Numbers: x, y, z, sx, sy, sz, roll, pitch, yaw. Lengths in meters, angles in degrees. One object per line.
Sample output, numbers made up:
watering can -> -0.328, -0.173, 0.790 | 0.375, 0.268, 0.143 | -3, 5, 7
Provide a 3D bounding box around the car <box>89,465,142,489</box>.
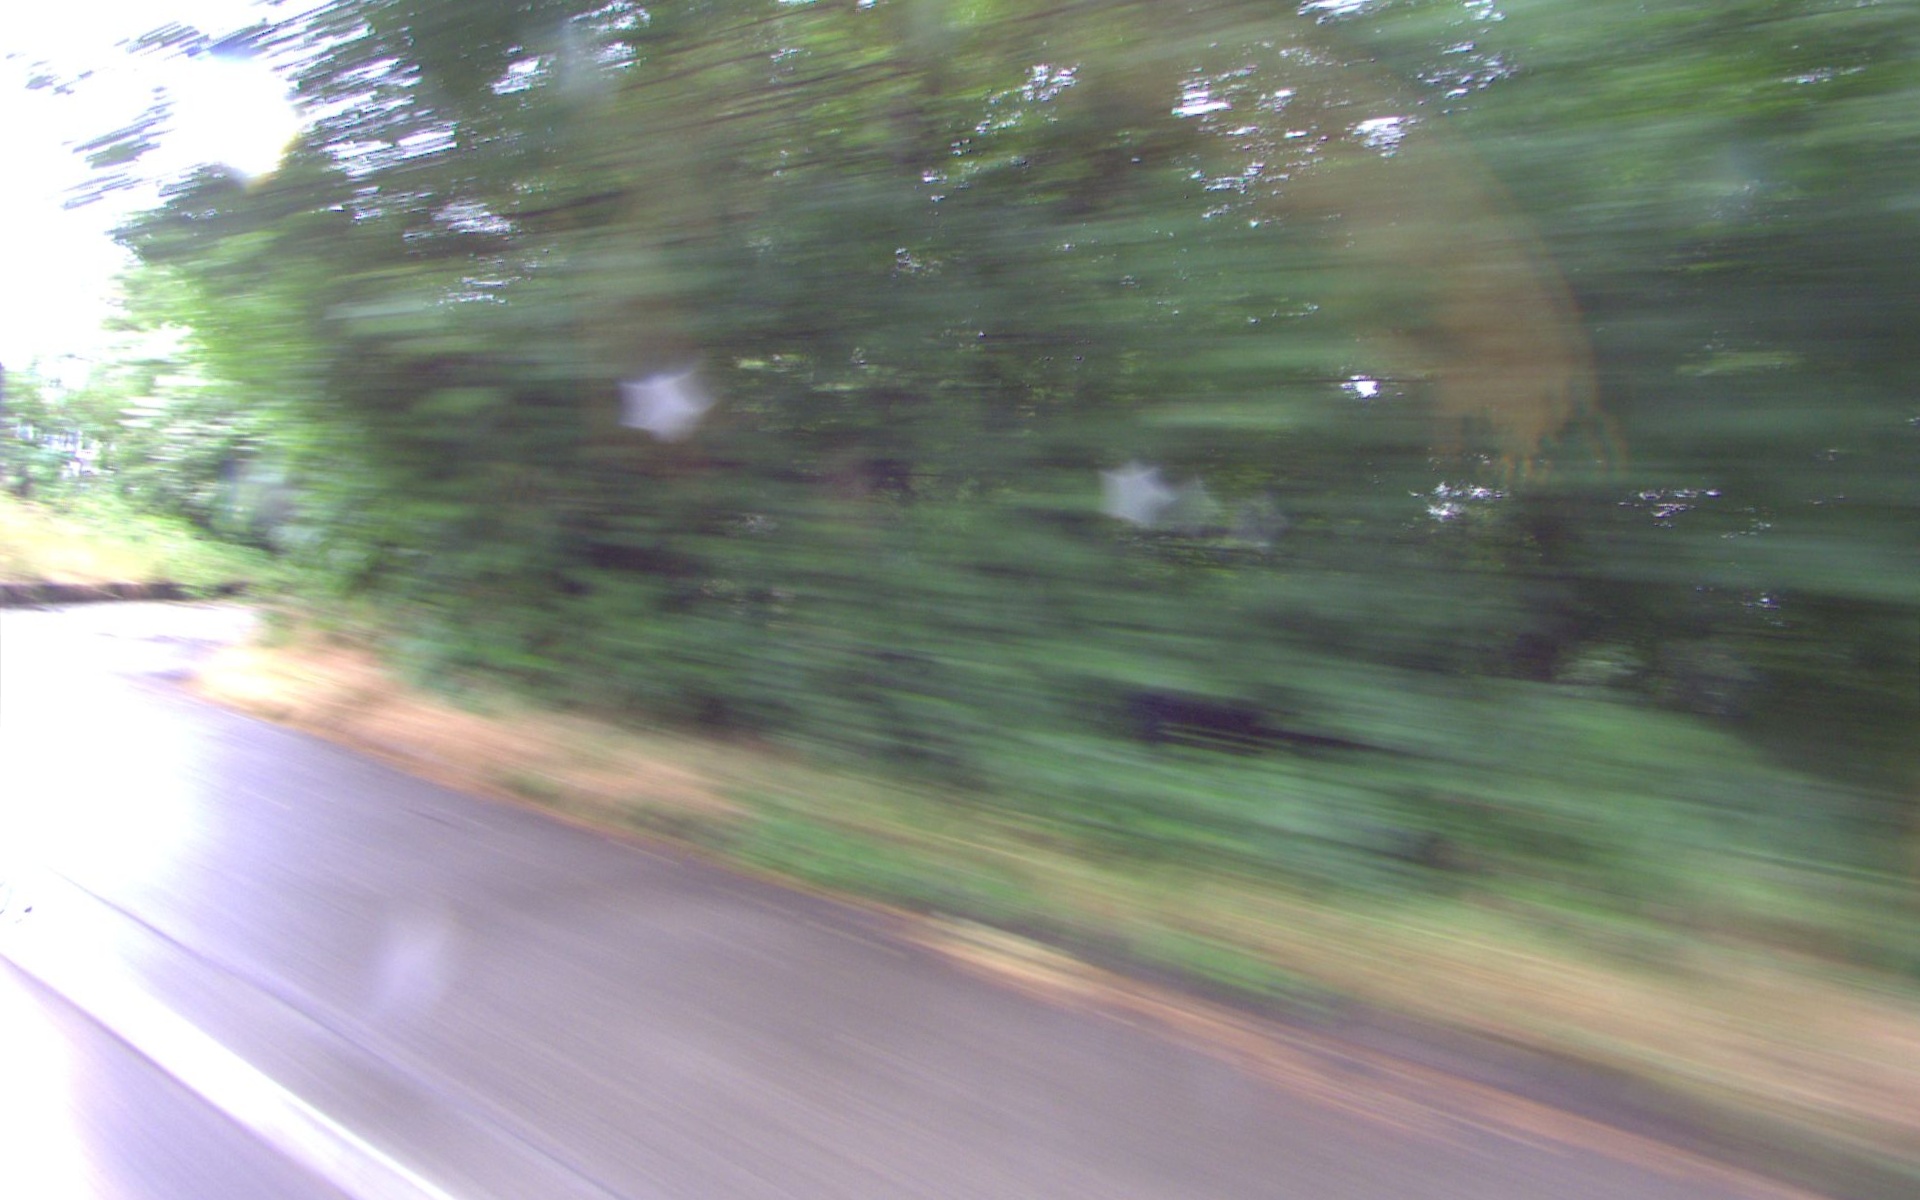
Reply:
car -> -100.374, -14.605, 119.617 | 4.383, 2.030, 1.985 | 7, -1, -30
